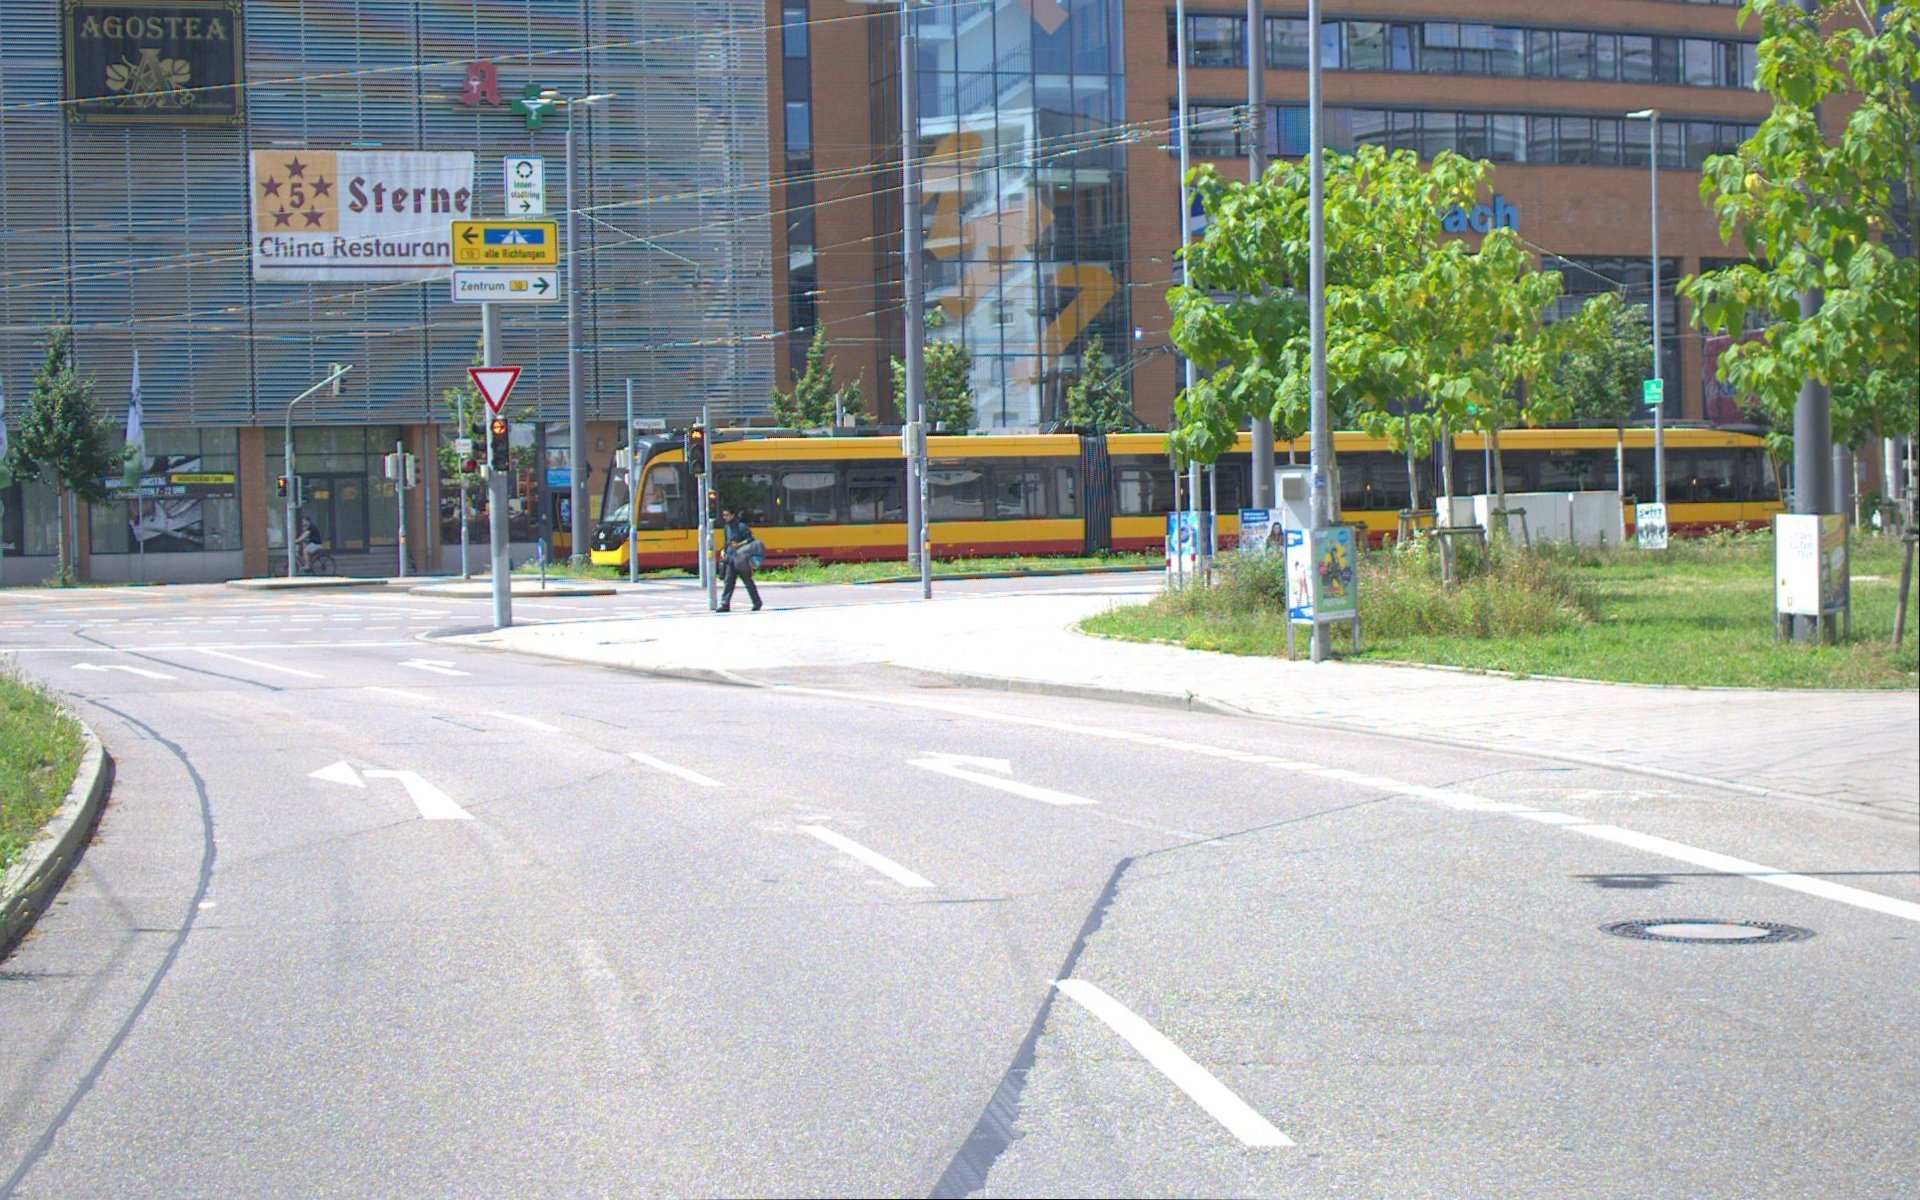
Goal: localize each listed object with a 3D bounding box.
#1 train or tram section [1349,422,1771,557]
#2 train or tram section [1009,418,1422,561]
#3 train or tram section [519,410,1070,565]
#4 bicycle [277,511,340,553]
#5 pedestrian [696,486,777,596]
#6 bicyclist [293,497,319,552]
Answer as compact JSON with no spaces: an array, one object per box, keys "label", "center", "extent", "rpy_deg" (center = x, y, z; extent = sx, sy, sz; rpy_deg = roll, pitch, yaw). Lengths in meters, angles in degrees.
[{"label":"train or tram section","center":[16.903,-3.089,96.222],"extent":[12.594,3.608,3.065],"rpy_deg":[-1,2,-30]},{"label":"train or tram section","center":[6.780,-2.895,90.232],"extent":[10.956,3.590,3.065],"rpy_deg":[-1,2,-30]},{"label":"train or tram section","center":[-3.900,-2.733,84.210],"extent":[13.455,3.587,3.227],"rpy_deg":[-1,2,-29]},{"label":"bicycle","center":[-19.264,-2.022,101.675],"extent":[1.760,1.219,0.584],"rpy_deg":[-1,1,-18]},{"label":"pedestrian","center":[-3.554,-0.939,54.605],"extent":[0.918,1.696,0.806],"rpy_deg":[-1,2,43]},{"label":"bicyclist","center":[-19.339,-2.230,101.658],"extent":[0.662,1.618,0.551],"rpy_deg":[-1,1,-18]}]
